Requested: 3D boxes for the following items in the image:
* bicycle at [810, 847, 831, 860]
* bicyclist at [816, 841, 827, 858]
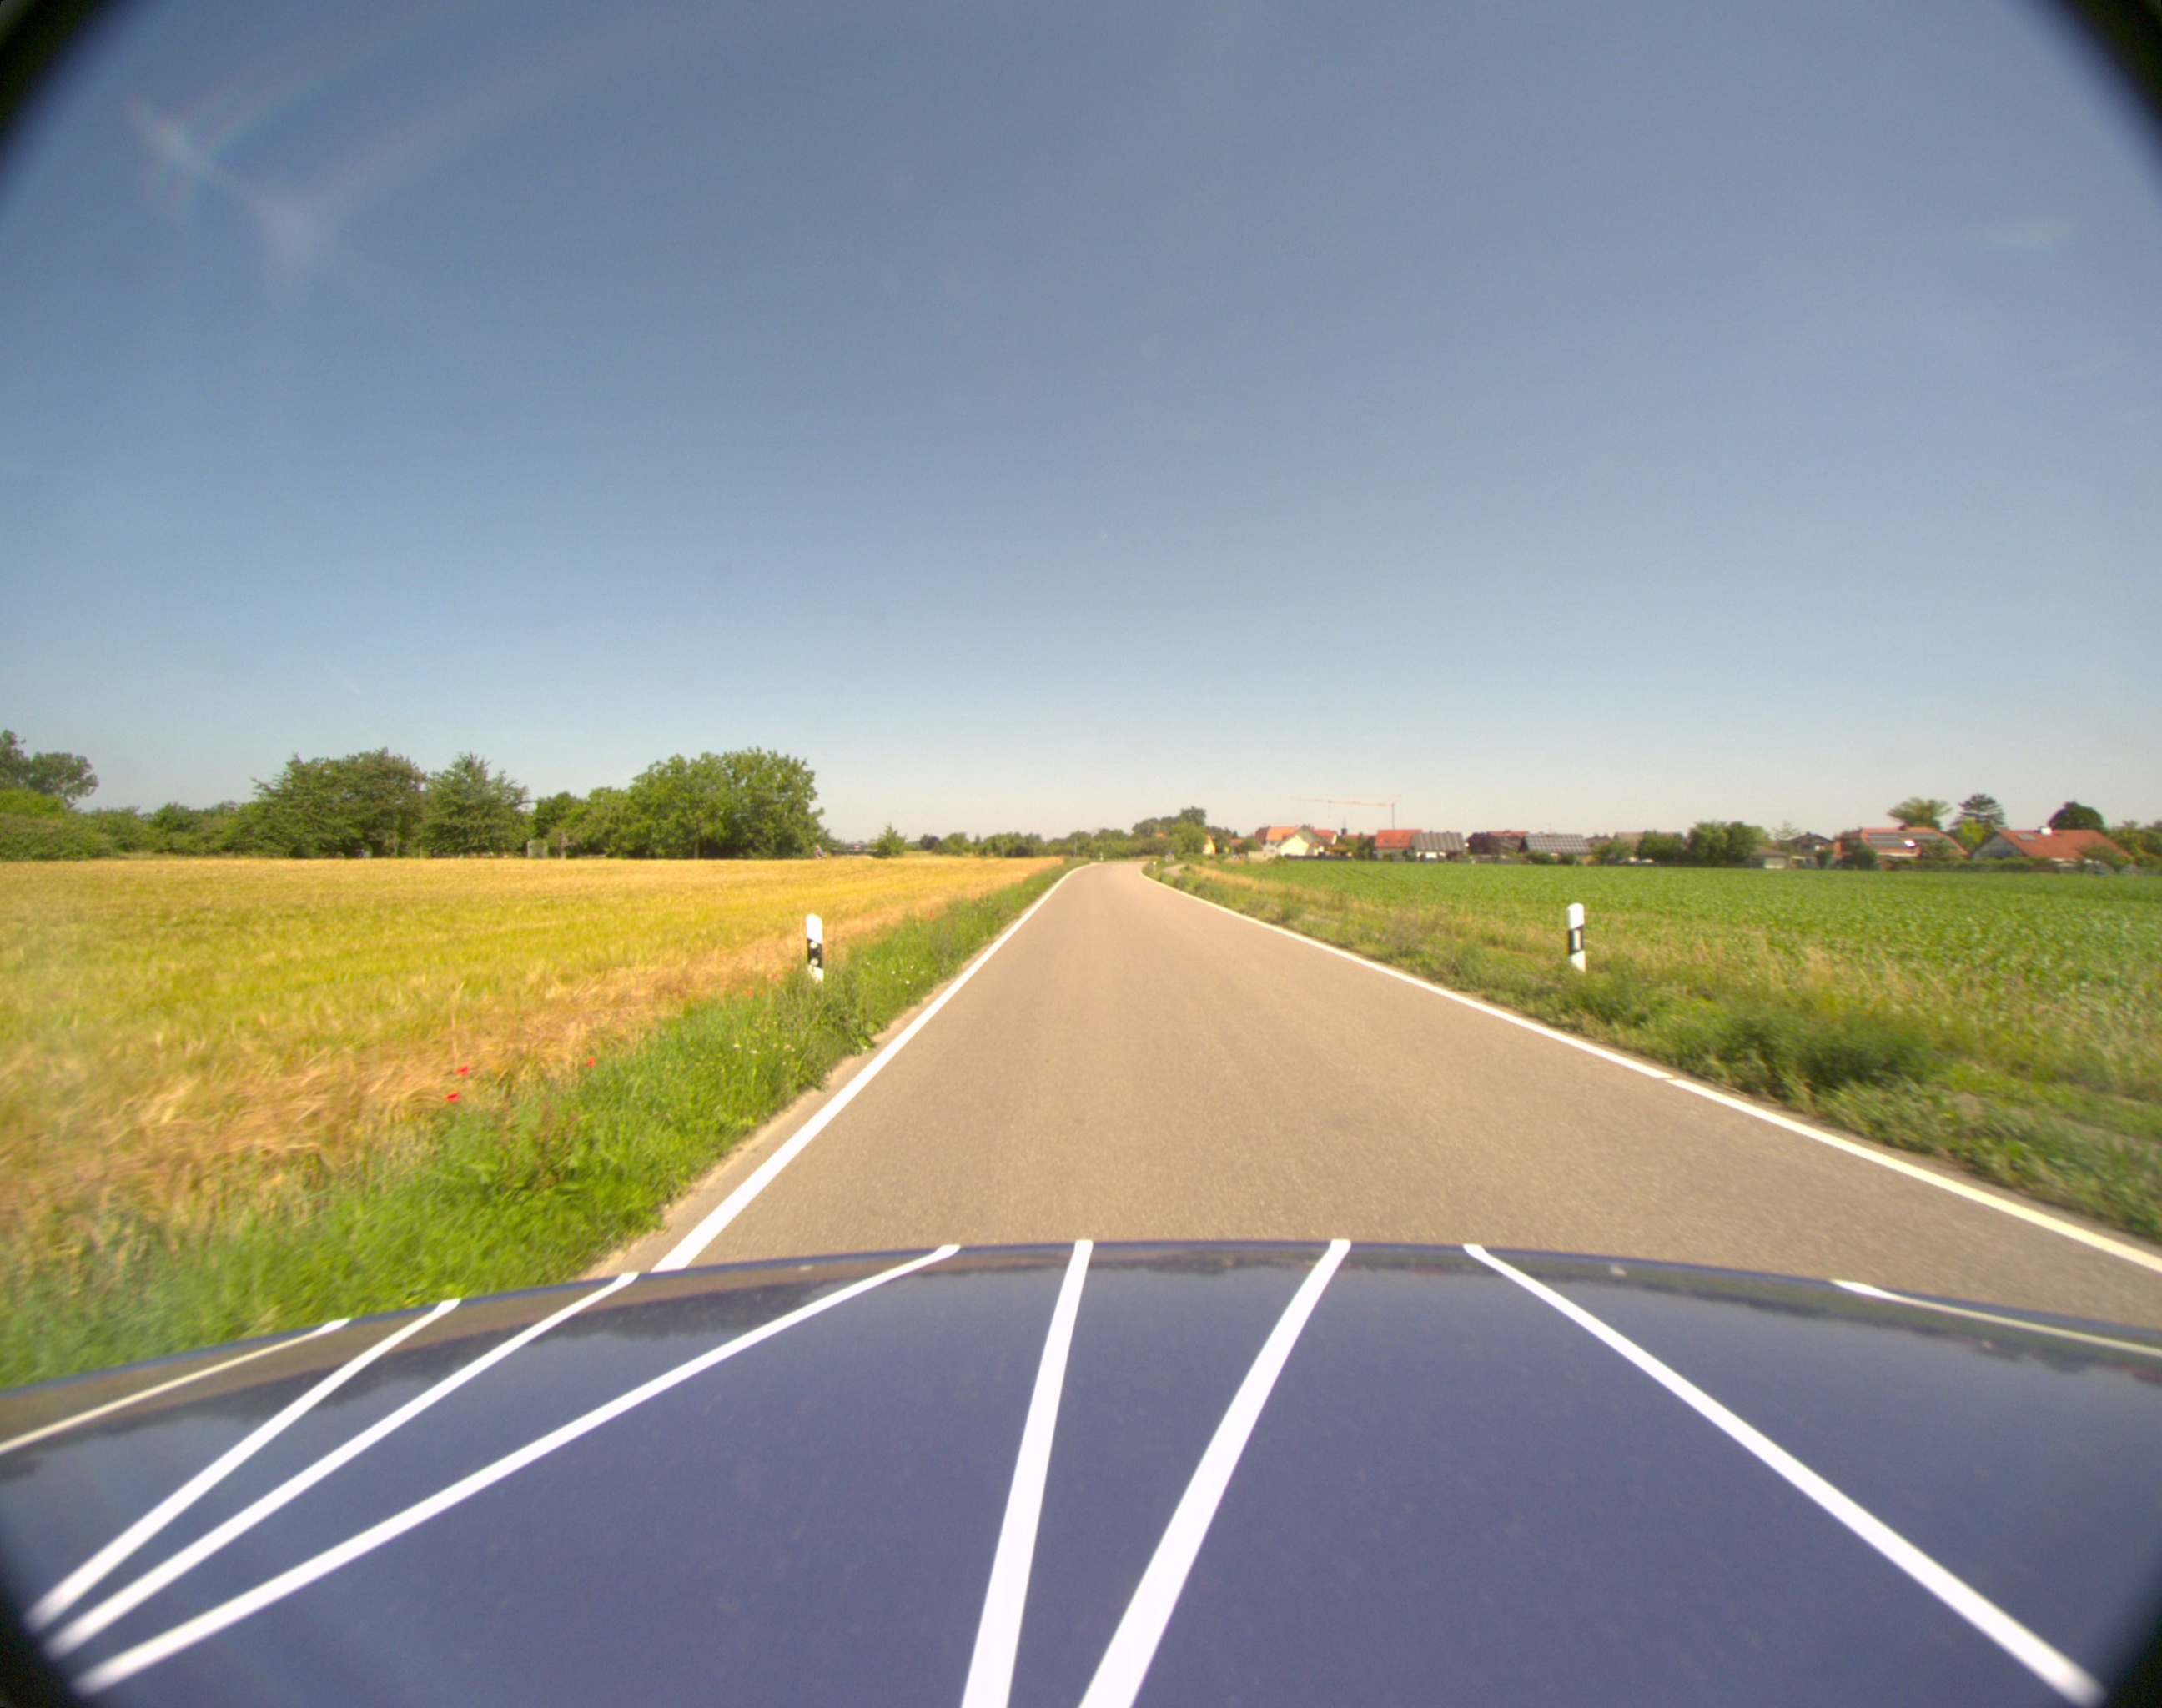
[{"bbox_3d":[-23.507,-0.063,68.603,1.773,1.109,0.520,0,1,-42],"label":"bicycle"},{"bbox_3d":[-23.464,-0.409,68.603,0.737,1.565,0.672,-1,2,-42],"label":"bicyclist"}]
